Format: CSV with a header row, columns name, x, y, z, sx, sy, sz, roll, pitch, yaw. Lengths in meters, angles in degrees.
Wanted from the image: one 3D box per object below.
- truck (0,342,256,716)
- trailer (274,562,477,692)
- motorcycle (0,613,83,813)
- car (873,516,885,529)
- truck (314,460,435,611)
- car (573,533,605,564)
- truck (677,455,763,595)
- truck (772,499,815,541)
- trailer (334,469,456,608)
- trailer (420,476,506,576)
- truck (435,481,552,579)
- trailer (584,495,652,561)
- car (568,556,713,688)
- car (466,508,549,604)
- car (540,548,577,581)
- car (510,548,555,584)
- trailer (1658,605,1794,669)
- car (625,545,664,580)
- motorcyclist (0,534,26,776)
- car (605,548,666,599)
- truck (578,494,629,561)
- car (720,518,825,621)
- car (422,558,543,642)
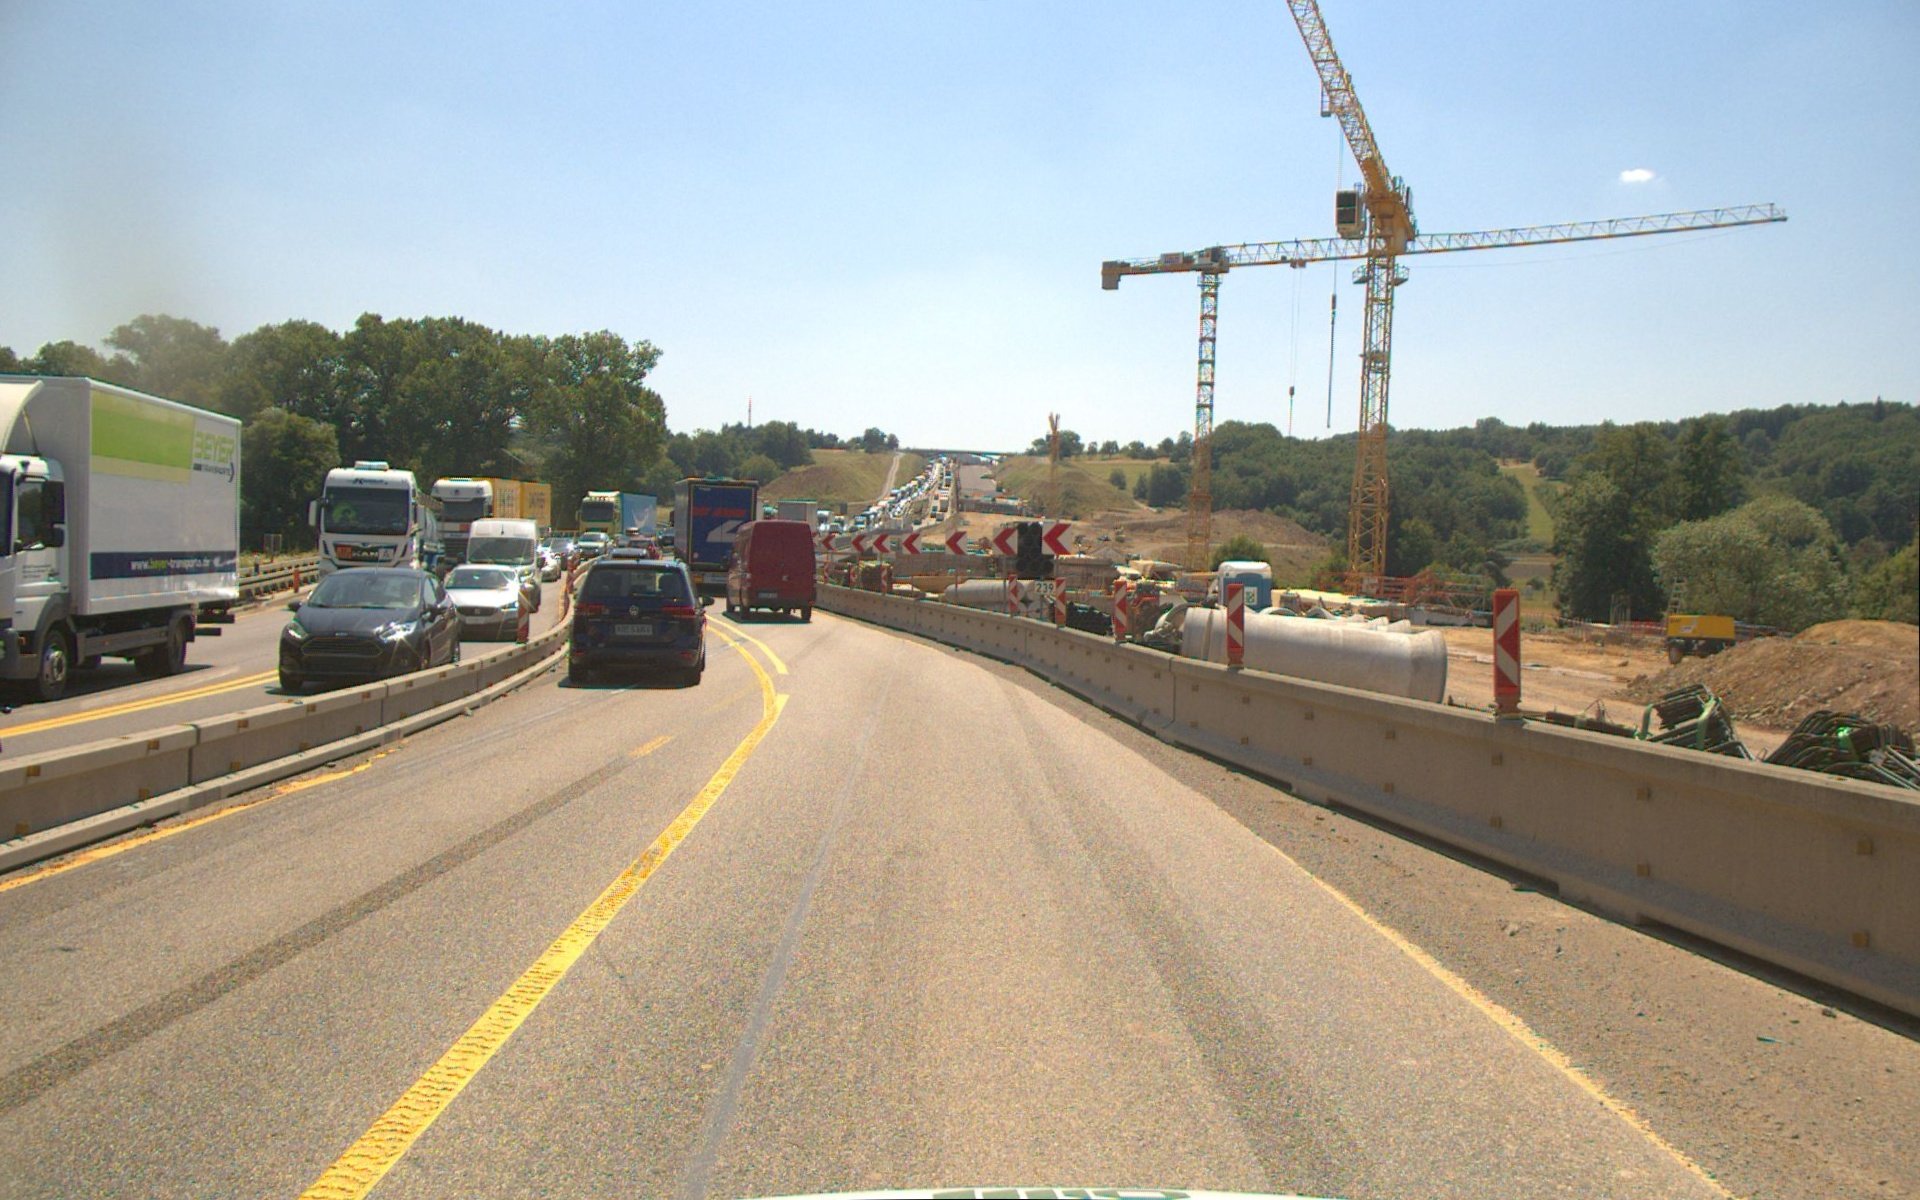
name,x,y,z,sx,sy,sz,roll,pitch,yaw
truck,-11.125,-0.792,20.071,2.766,3.637,8.479,2,1,-10
trailer,-7.316,0.306,21.051,1.633,1.456,3.993,1,0,-8
motorcycle,-6.075,0.671,9.378,0.816,1.170,2.789,1,0,-3
car,-11.344,-10.815,232.179,1.585,1.729,3.890,2,2,-1
truck,-16.288,-1.736,46.266,2.490,3.888,4.934,2,1,-13
car,-20.535,-2.883,91.636,1.607,1.511,3.990,1,3,-12
truck,-9.332,-2.868,63.808,2.892,5.030,6.725,1,2,-11
truck,-15.003,-7.171,149.338,3.119,3.029,8.896,1,-1,-1
trailer,-17.653,-1.851,52.248,2.482,3.855,10.211,2,1,-13
trailer,-22.550,-3.326,75.275,2.811,4.303,5.211,1,1,-7
truck,-23.387,-3.501,83.901,2.752,4.417,15.362,2,2,-5
trailer,-24.522,-5.099,119.244,2.595,4.366,13.304,3,2,-3
car,-4.426,0.235,23.438,1.701,1.664,4.383,1,1,-7
car,-12.981,-1.204,47.779,2.035,2.547,6.462,1,0,-13
car,-19.098,-1.706,78.668,1.648,1.385,4.488,2,2,-14
car,-17.267,-1.383,66.896,1.648,1.286,4.322,2,2,-14
trailer,20.135,0.940,43.646,1.591,1.512,3.823,2,1,-4
car,-15.802,-1.895,82.908,1.800,1.663,4.097,1,1,-10
motorcyclist,-6.109,0.315,9.702,0.794,1.441,0.742,1,-1,-3
car,-11.146,-0.922,57.049,1.799,1.664,4.381,1,1,-8
truck,-24.174,-4.879,112.393,2.574,4.344,4.729,3,1,-4
car,-5.348,-0.865,46.471,2.114,2.656,5.417,1,1,-15
car,-9.617,-0.060,33.592,1.811,1.489,4.514,1,2,-10
